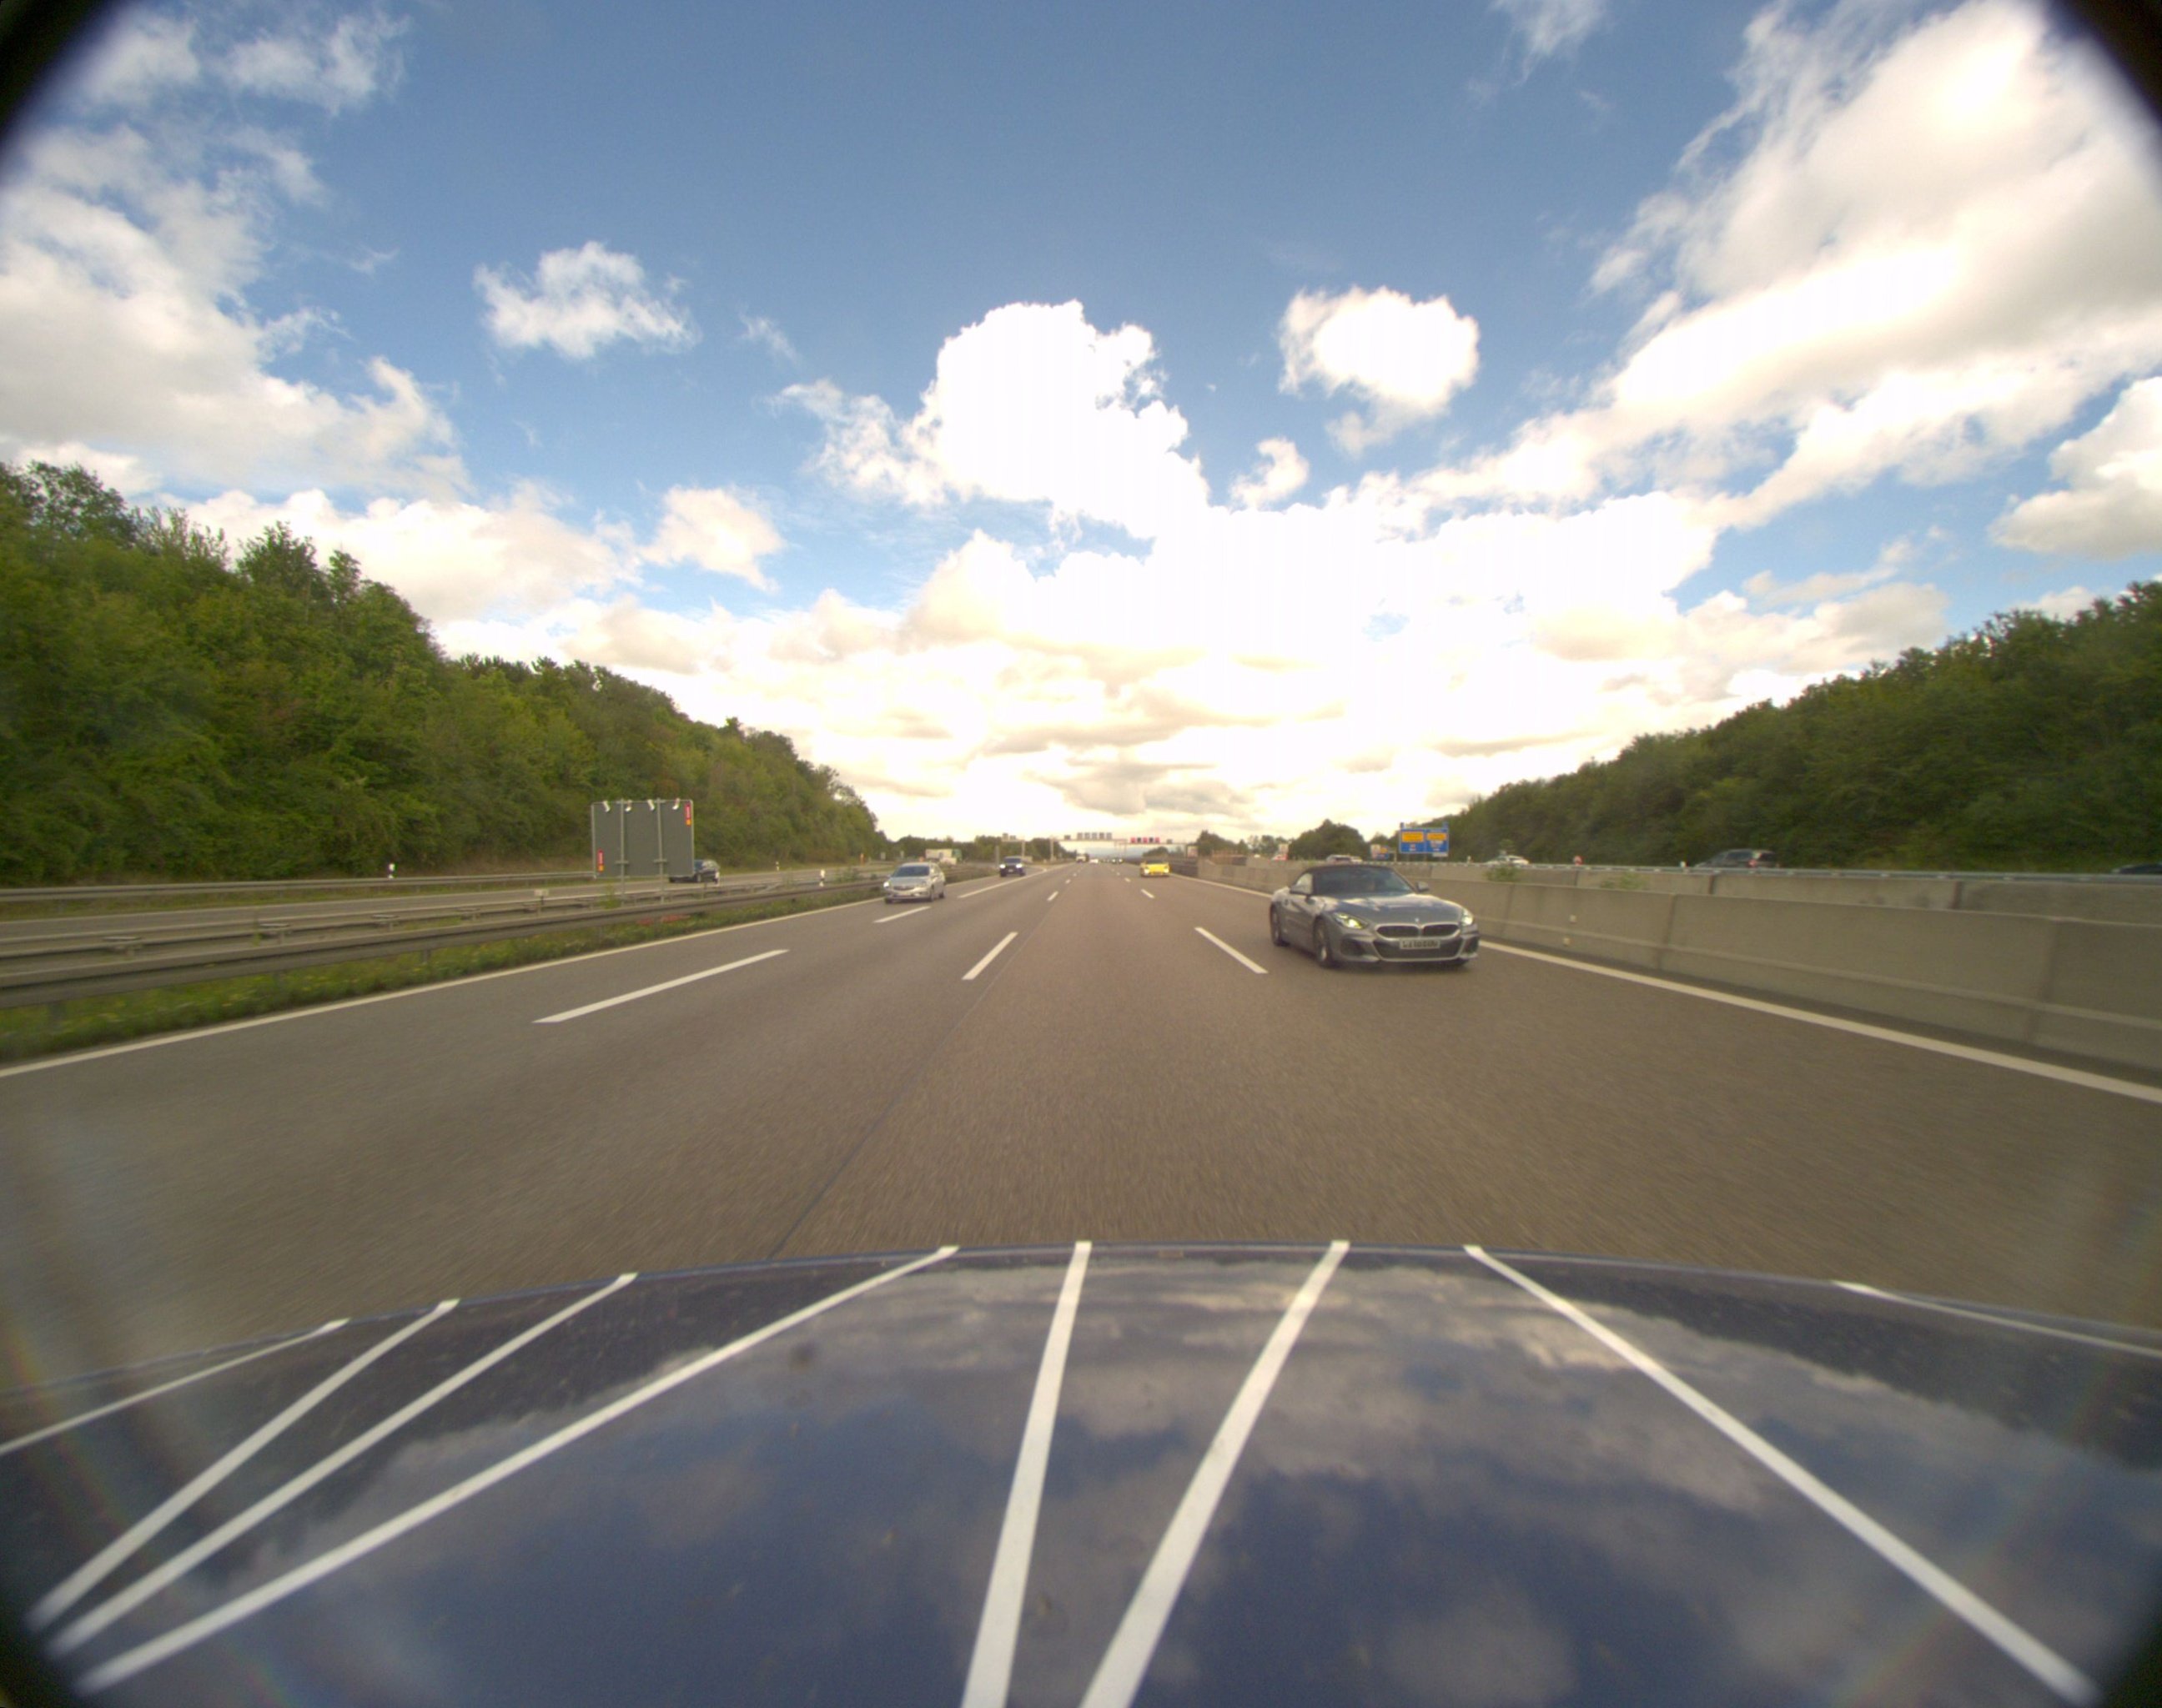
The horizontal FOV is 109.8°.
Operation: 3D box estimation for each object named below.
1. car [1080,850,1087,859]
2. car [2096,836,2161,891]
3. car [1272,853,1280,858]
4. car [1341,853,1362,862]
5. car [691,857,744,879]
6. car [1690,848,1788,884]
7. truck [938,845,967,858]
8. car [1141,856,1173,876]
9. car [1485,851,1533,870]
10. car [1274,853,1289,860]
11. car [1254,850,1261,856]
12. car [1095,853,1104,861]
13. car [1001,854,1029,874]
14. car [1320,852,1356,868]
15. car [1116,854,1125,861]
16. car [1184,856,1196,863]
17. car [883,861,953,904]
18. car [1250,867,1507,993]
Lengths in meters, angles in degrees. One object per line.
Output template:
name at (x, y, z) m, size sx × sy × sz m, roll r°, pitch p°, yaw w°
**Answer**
car at (0.766, 0.215, 226.677) m, size 1.854 × 2.565 × 5.412 m, roll 0°, pitch 0°, yaw 1°
car at (34.300, 0.293, 22.785) m, size 1.856 × 1.719 × 4.426 m, roll 0°, pitch 0°, yaw 1°
car at (63.381, 0.362, 246.924) m, size 1.812 × 1.626 × 5.015 m, roll -1°, pitch 0°, yaw 21°
car at (39.587, 0.496, 111.262) m, size 1.647 × 1.307 × 4.247 m, roll 0°, pitch 0°, yaw 1°
car at (-24.251, 0.910, 50.862) m, size 1.717 × 1.407 × 4.167 m, roll -1°, pitch 0°, yaw -4°
car at (38.707, 0.661, 44.854) m, size 1.998 × 2.002 × 4.344 m, roll -2°, pitch 0°, yaw 1°
truck at (-39.921, -0.765, 236.022) m, size 2.975 × 3.775 × 13.427 m, roll -2°, pitch 0°, yaw -37°
car at (5.316, 0.809, 53.609) m, size 1.811 × 1.307 × 4.247 m, roll 1°, pitch 0°, yaw 0°
car at (35.570, 0.483, 63.255) m, size 1.680 × 1.508 × 4.369 m, roll 0°, pitch 0°, yaw 3°
car at (36.746, 0.467, 139.420) m, size 1.647 × 1.307 × 4.247 m, roll 0°, pitch 0°, yaw 1°
car at (50.137, -0.265, 215.597) m, size 1.773 × 1.568 × 5.016 m, roll -1°, pitch 0°, yaw 10°
car at (3.760, 0.555, 154.387) m, size 1.736 × 1.608 × 4.000 m, roll -1°, pitch 0°, yaw 1°
car at (-5.754, 0.837, 66.858) m, size 1.876 × 1.626 × 4.859 m, roll -1°, pitch 0°, yaw 1°
car at (21.358, 0.458, 63.315) m, size 1.647 × 1.307 × 4.247 m, roll 0°, pitch 0°, yaw 1°
car at (7.617, 0.616, 147.529) m, size 1.593 × 1.307 × 3.978 m, roll 1°, pitch 0°, yaw 0°
car at (19.575, 0.966, 136.783) m, size 1.647 × 1.307 × 4.247 m, roll 1°, pitch 0°, yaw 1°
car at (-6.275, 1.058, 29.814) m, size 1.687 × 1.476 × 4.615 m, roll -1°, pitch 0°, yaw 0°
car at (3.952, 0.916, 11.159) m, size 1.878 × 1.295 × 4.942 m, roll -1°, pitch 0°, yaw 1°
